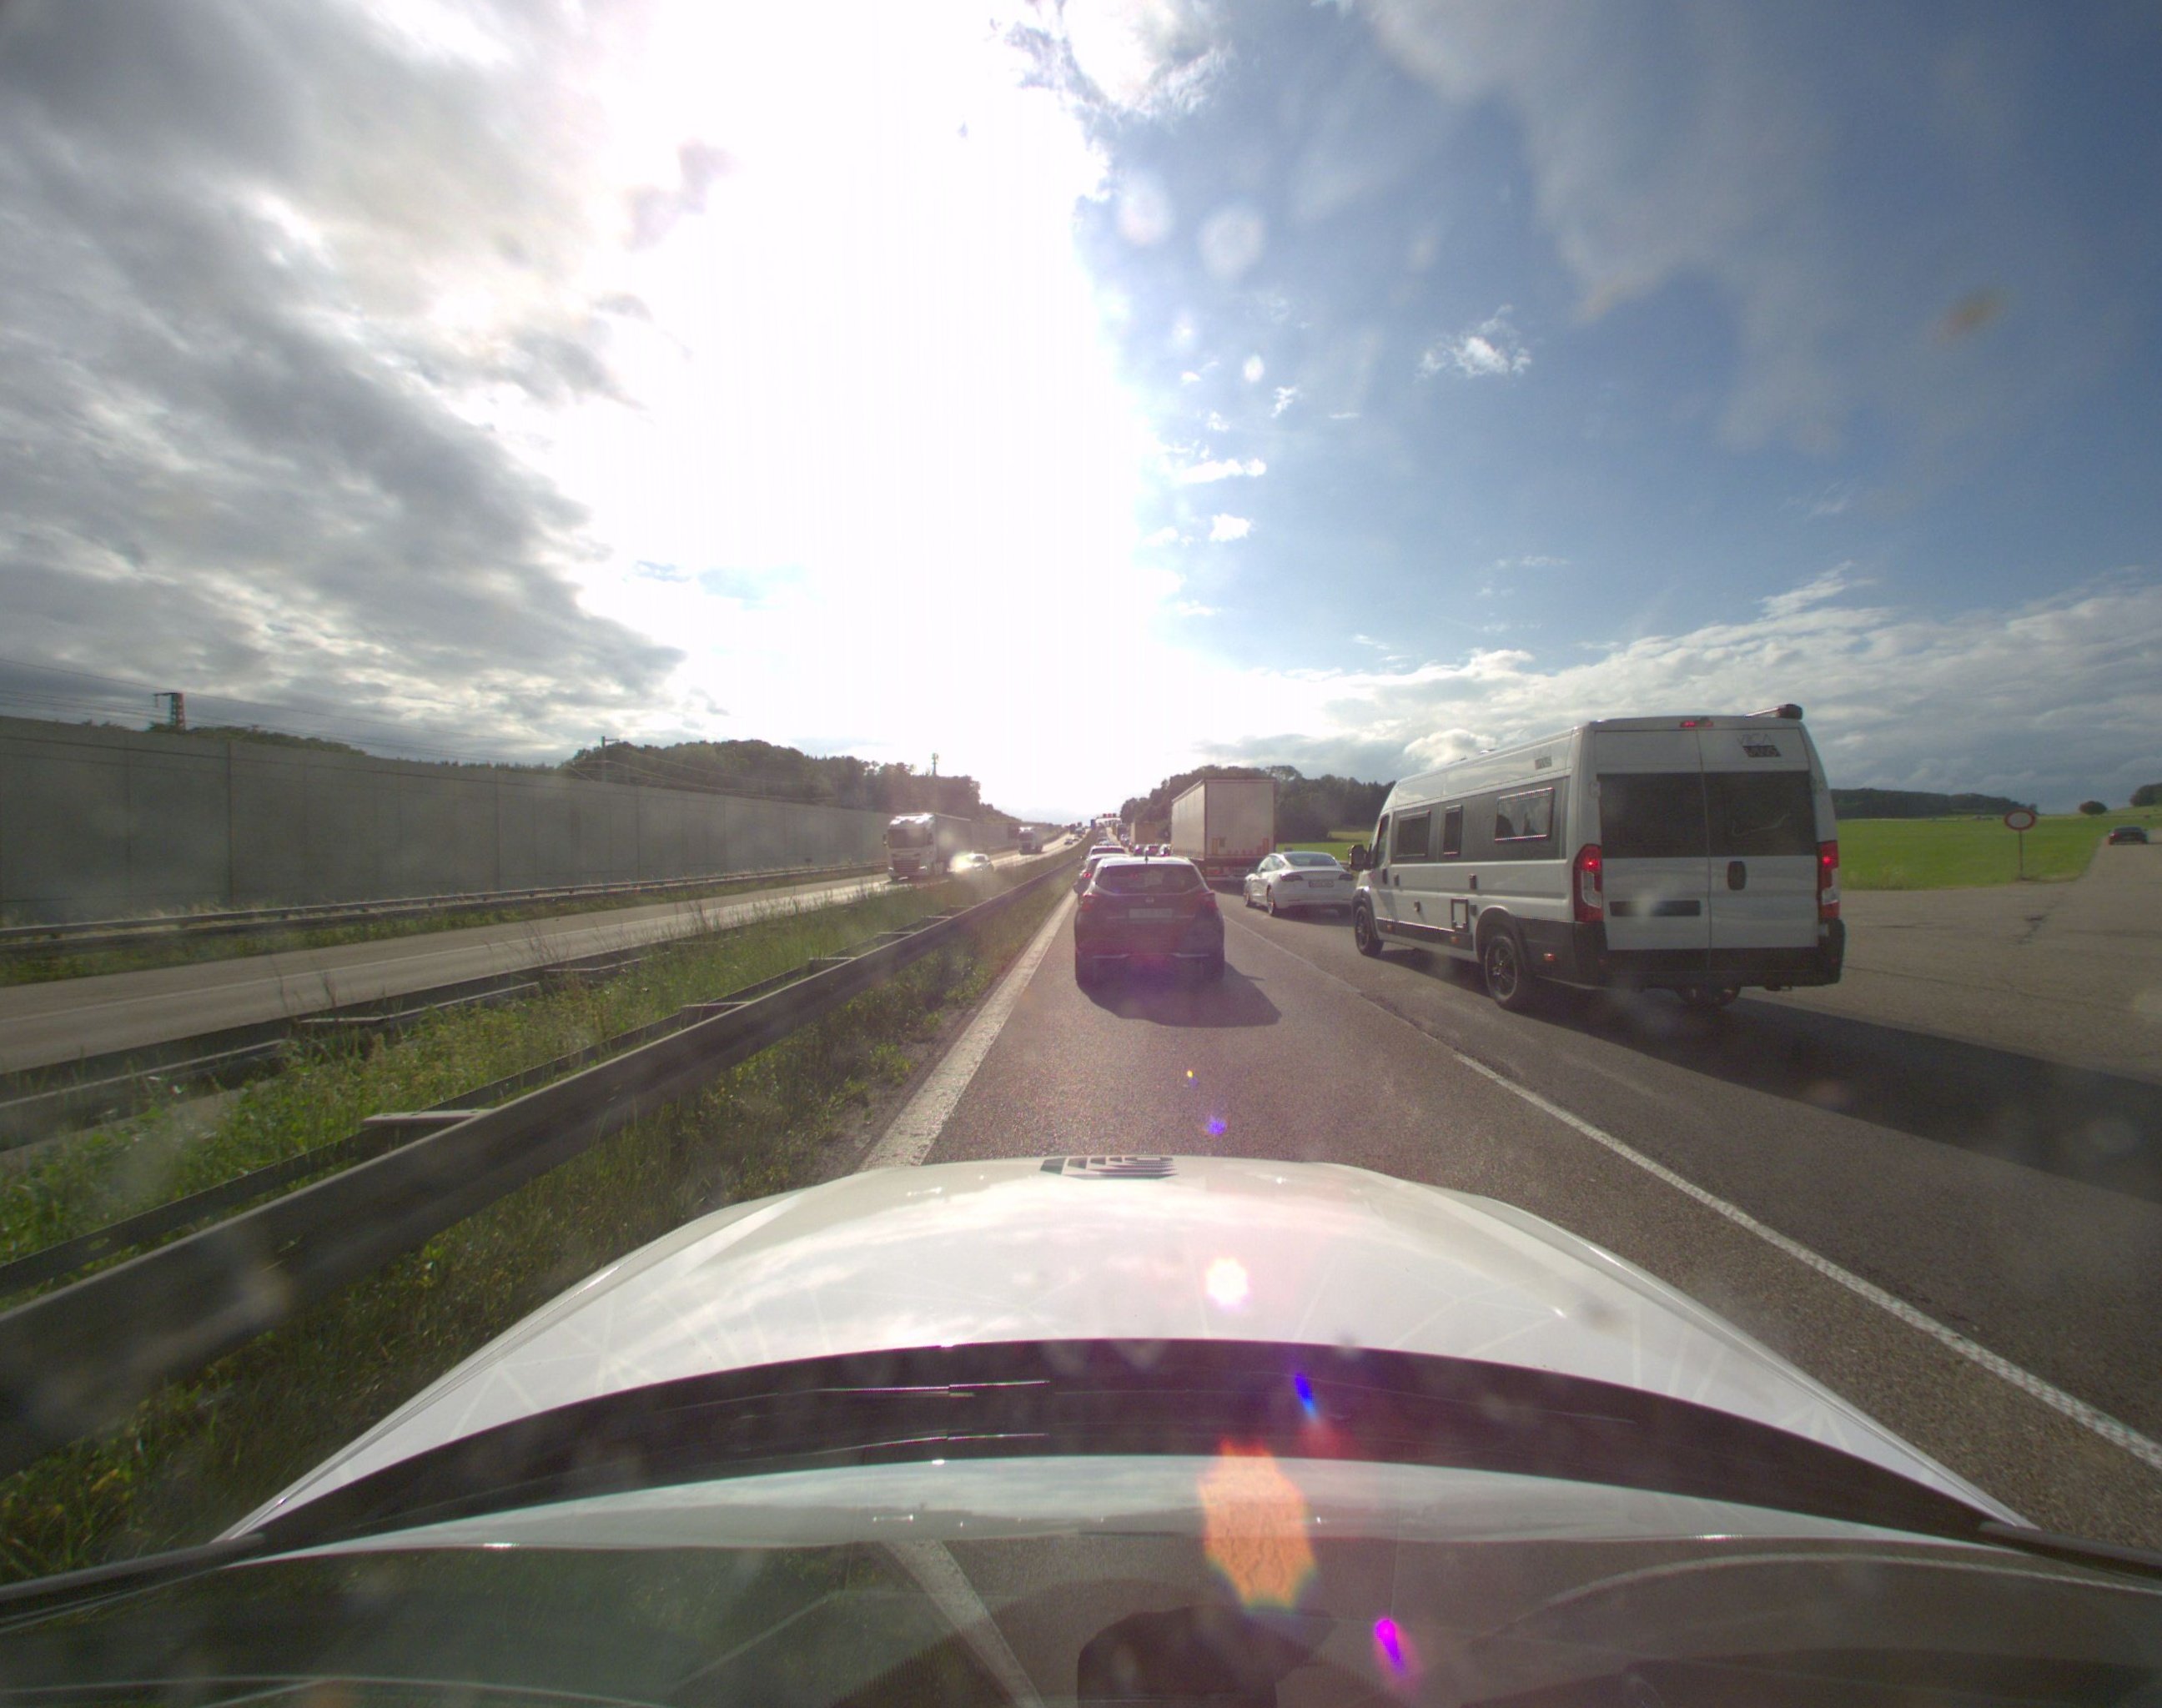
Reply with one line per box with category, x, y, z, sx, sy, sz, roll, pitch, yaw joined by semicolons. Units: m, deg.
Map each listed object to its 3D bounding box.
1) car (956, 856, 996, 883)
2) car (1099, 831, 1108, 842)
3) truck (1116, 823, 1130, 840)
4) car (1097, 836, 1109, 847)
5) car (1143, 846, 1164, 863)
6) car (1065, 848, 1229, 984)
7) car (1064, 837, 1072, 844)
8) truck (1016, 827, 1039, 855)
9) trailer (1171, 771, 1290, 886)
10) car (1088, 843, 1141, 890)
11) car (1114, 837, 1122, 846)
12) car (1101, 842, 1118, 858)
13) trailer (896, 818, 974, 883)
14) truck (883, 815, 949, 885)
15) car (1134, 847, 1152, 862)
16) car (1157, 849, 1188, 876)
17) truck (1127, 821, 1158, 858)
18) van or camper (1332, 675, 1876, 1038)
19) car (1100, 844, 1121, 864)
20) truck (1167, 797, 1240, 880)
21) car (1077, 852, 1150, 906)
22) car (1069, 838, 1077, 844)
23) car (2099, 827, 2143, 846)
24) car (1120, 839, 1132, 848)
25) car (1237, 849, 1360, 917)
car;-5.780;0.826;45.110;1.627;1.401;3.897;-2;0;1
car;4.900;-3.843;178.895;1.866;2.158;5.214;-1;3;1
truck;12.039;-6.433;233.828;3.453;4.576;12.442;0;1;0
car;3.629;-2.039;134.997;1.867;1.644;4.233;-1;2;0
car;7.632;0.014;86.043;1.866;1.644;4.234;-1;1;2
car;0.789;0.681;11.074;1.766;1.451;4.234;-1;0;2
car;-2.914;-2.985;183.820;1.646;1.451;3.957;-1;0;1
truck;-8.293;-2.029;126.355;2.766;4.088;5.533;-3;0;1
trailer;5.986;-0.806;35.284;3.118;4.011;13.372;-1;-1;2
car;1.285;0.442;31.617;1.866;1.644;4.234;-1;0;2
car;9.371;-3.227;208.146;1.866;2.158;5.214;-1;3;1
car;3.309;-0.487;94.357;1.866;1.644;4.234;-1;2;2
trailer;-10.076;-0.240;58.057;2.674;4.037;13.795;-2;0;1
truck;-10.267;-0.234;51.158;2.675;4.068;5.881;-2;0;1
car;7.224;0.064;95.433;1.866;1.644;4.234;-1;1;2
car;5.889;0.508;52.790;1.691;1.610;4.440;-1;0;3
truck;8.080;-1.820;108.779;3.286;4.577;12.439;0;0;0
van or camper;4.914;0.012;9.301;2.207;2.681;6.334;-1;0;1
car;2.654;0.006;73.784;1.866;1.644;4.234;-1;1;2
truck;6.266;-0.719;42.440;3.121;4.016;5.166;-1;-1;2
car;0.917;0.649;23.230;1.866;1.357;4.234;-1;0;2
car;-2.028;-3.423;214.910;1.866;1.451;4.234;-1;0;2
car;83.279;-1.373;65.250;4.255;1.432;1.810;0;0;-43
car;8.364;-1.984;151.253;1.868;1.644;4.230;-1;2;-2
car;5.051;0.610;19.532;1.782;1.394;4.437;-1;0;1
